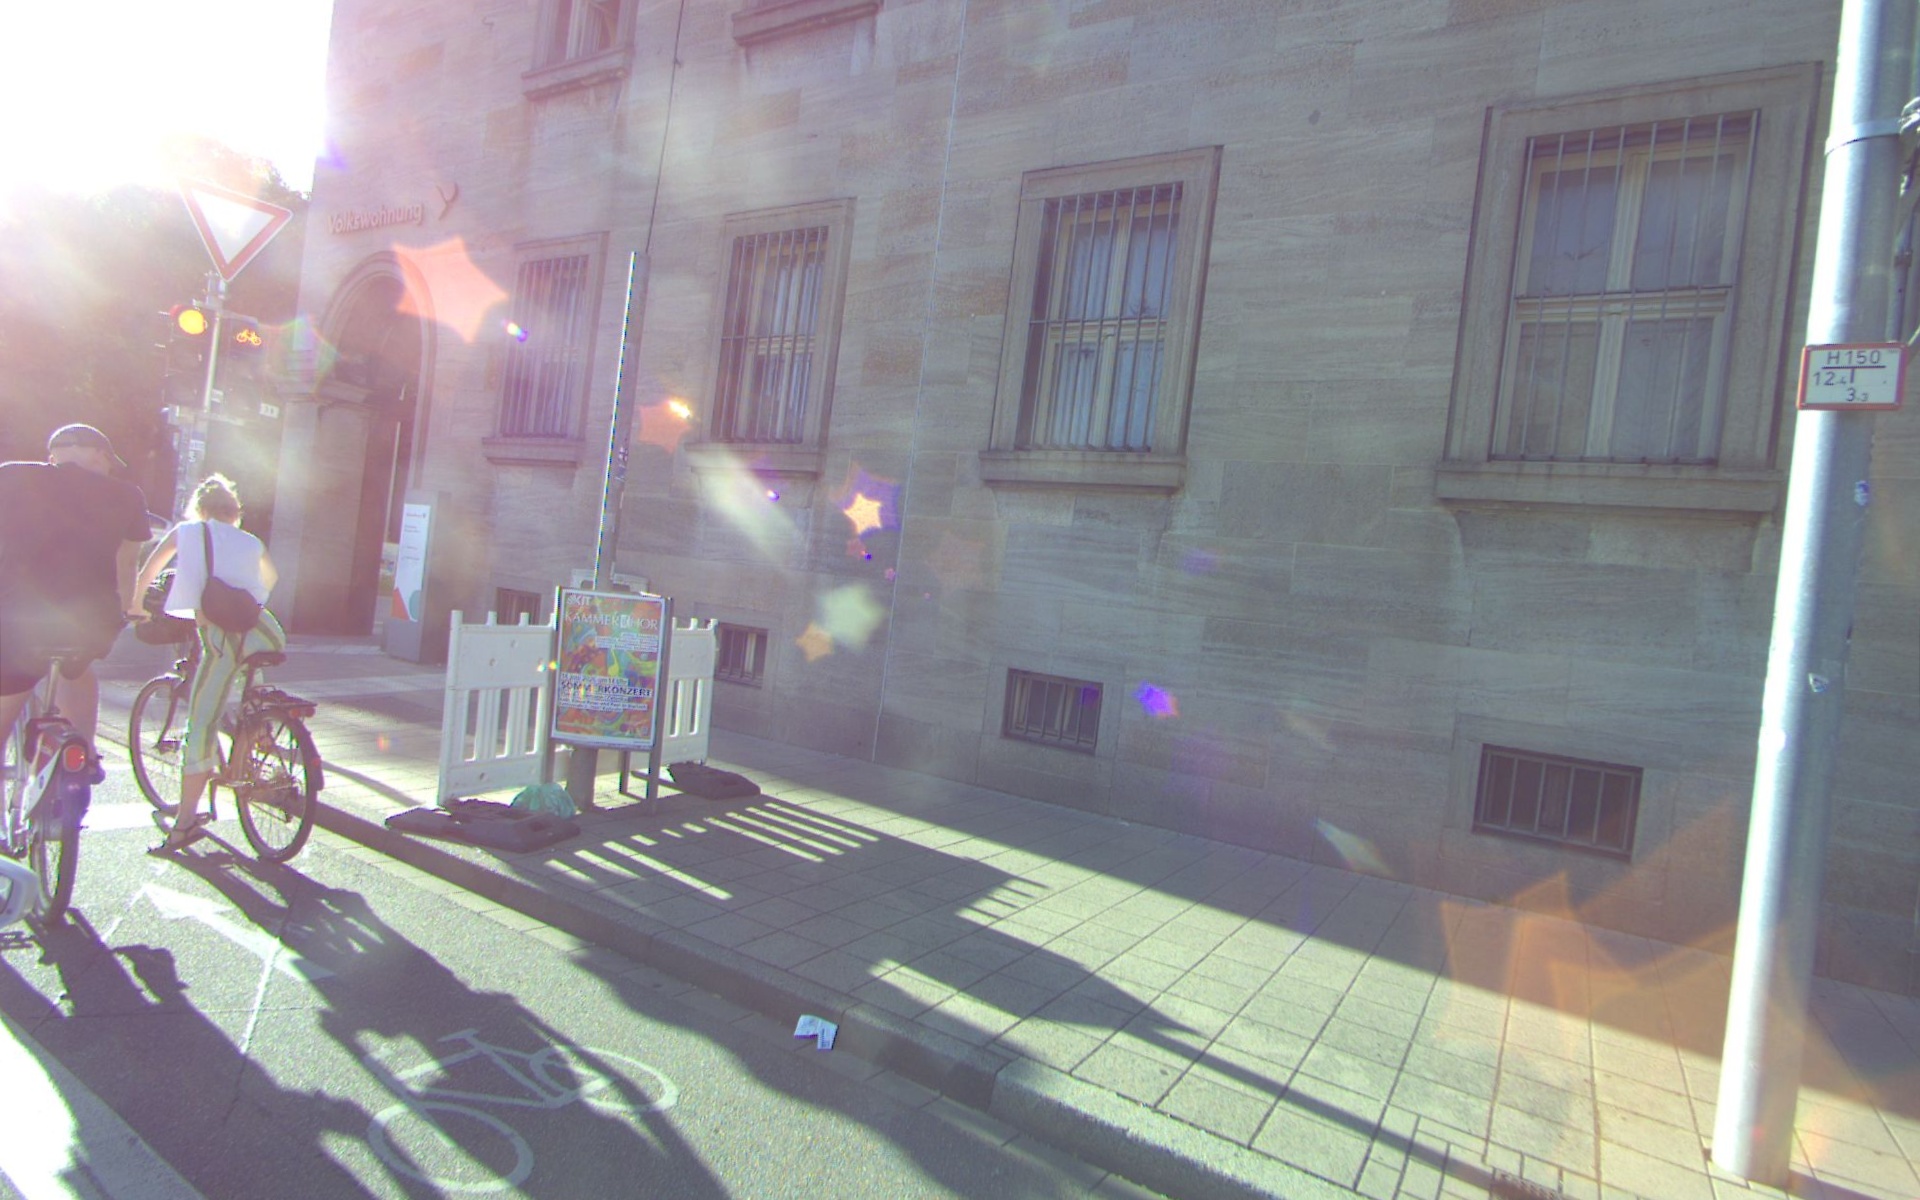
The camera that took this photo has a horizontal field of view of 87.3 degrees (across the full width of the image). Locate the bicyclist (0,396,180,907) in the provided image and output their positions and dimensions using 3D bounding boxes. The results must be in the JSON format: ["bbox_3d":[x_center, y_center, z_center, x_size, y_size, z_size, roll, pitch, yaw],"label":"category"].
[{"bbox_3d":[-3.554,0.192,3.862,0.541,1.820,0.559,7,-1,33],"label":"bicyclist"}]

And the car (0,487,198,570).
[{"bbox_3d":[-23.378,-1.896,27.202,1.622,1.630,3.999,7,-1,31],"label":"car"}]

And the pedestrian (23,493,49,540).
[{"bbox_3d":[-31.671,-2.868,34.478,0.430,1.522,0.440,7,1,33],"label":"pedestrian"}]

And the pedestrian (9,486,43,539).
[{"bbox_3d":[-31.458,-2.945,33.872,0.506,1.683,0.583,8,0,34],"label":"pedestrian"}]

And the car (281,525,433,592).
[{"bbox_3d":[-19.709,-1.325,33.019,1.623,1.630,3.854,7,-1,31],"label":"car"}]

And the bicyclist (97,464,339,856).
[{"bbox_3d":[-3.540,0.265,4.811,0.629,1.711,0.558,7,-1,30],"label":"bicyclist"}]

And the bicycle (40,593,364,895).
[{"bbox_3d":[-3.687,0.621,4.850,1.721,1.090,0.535,7,-1,31],"label":"bicycle"}]

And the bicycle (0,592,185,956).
[{"bbox_3d":[-3.743,0.573,3.932,1.700,1.090,0.516,7,-1,34],"label":"bicycle"}]
